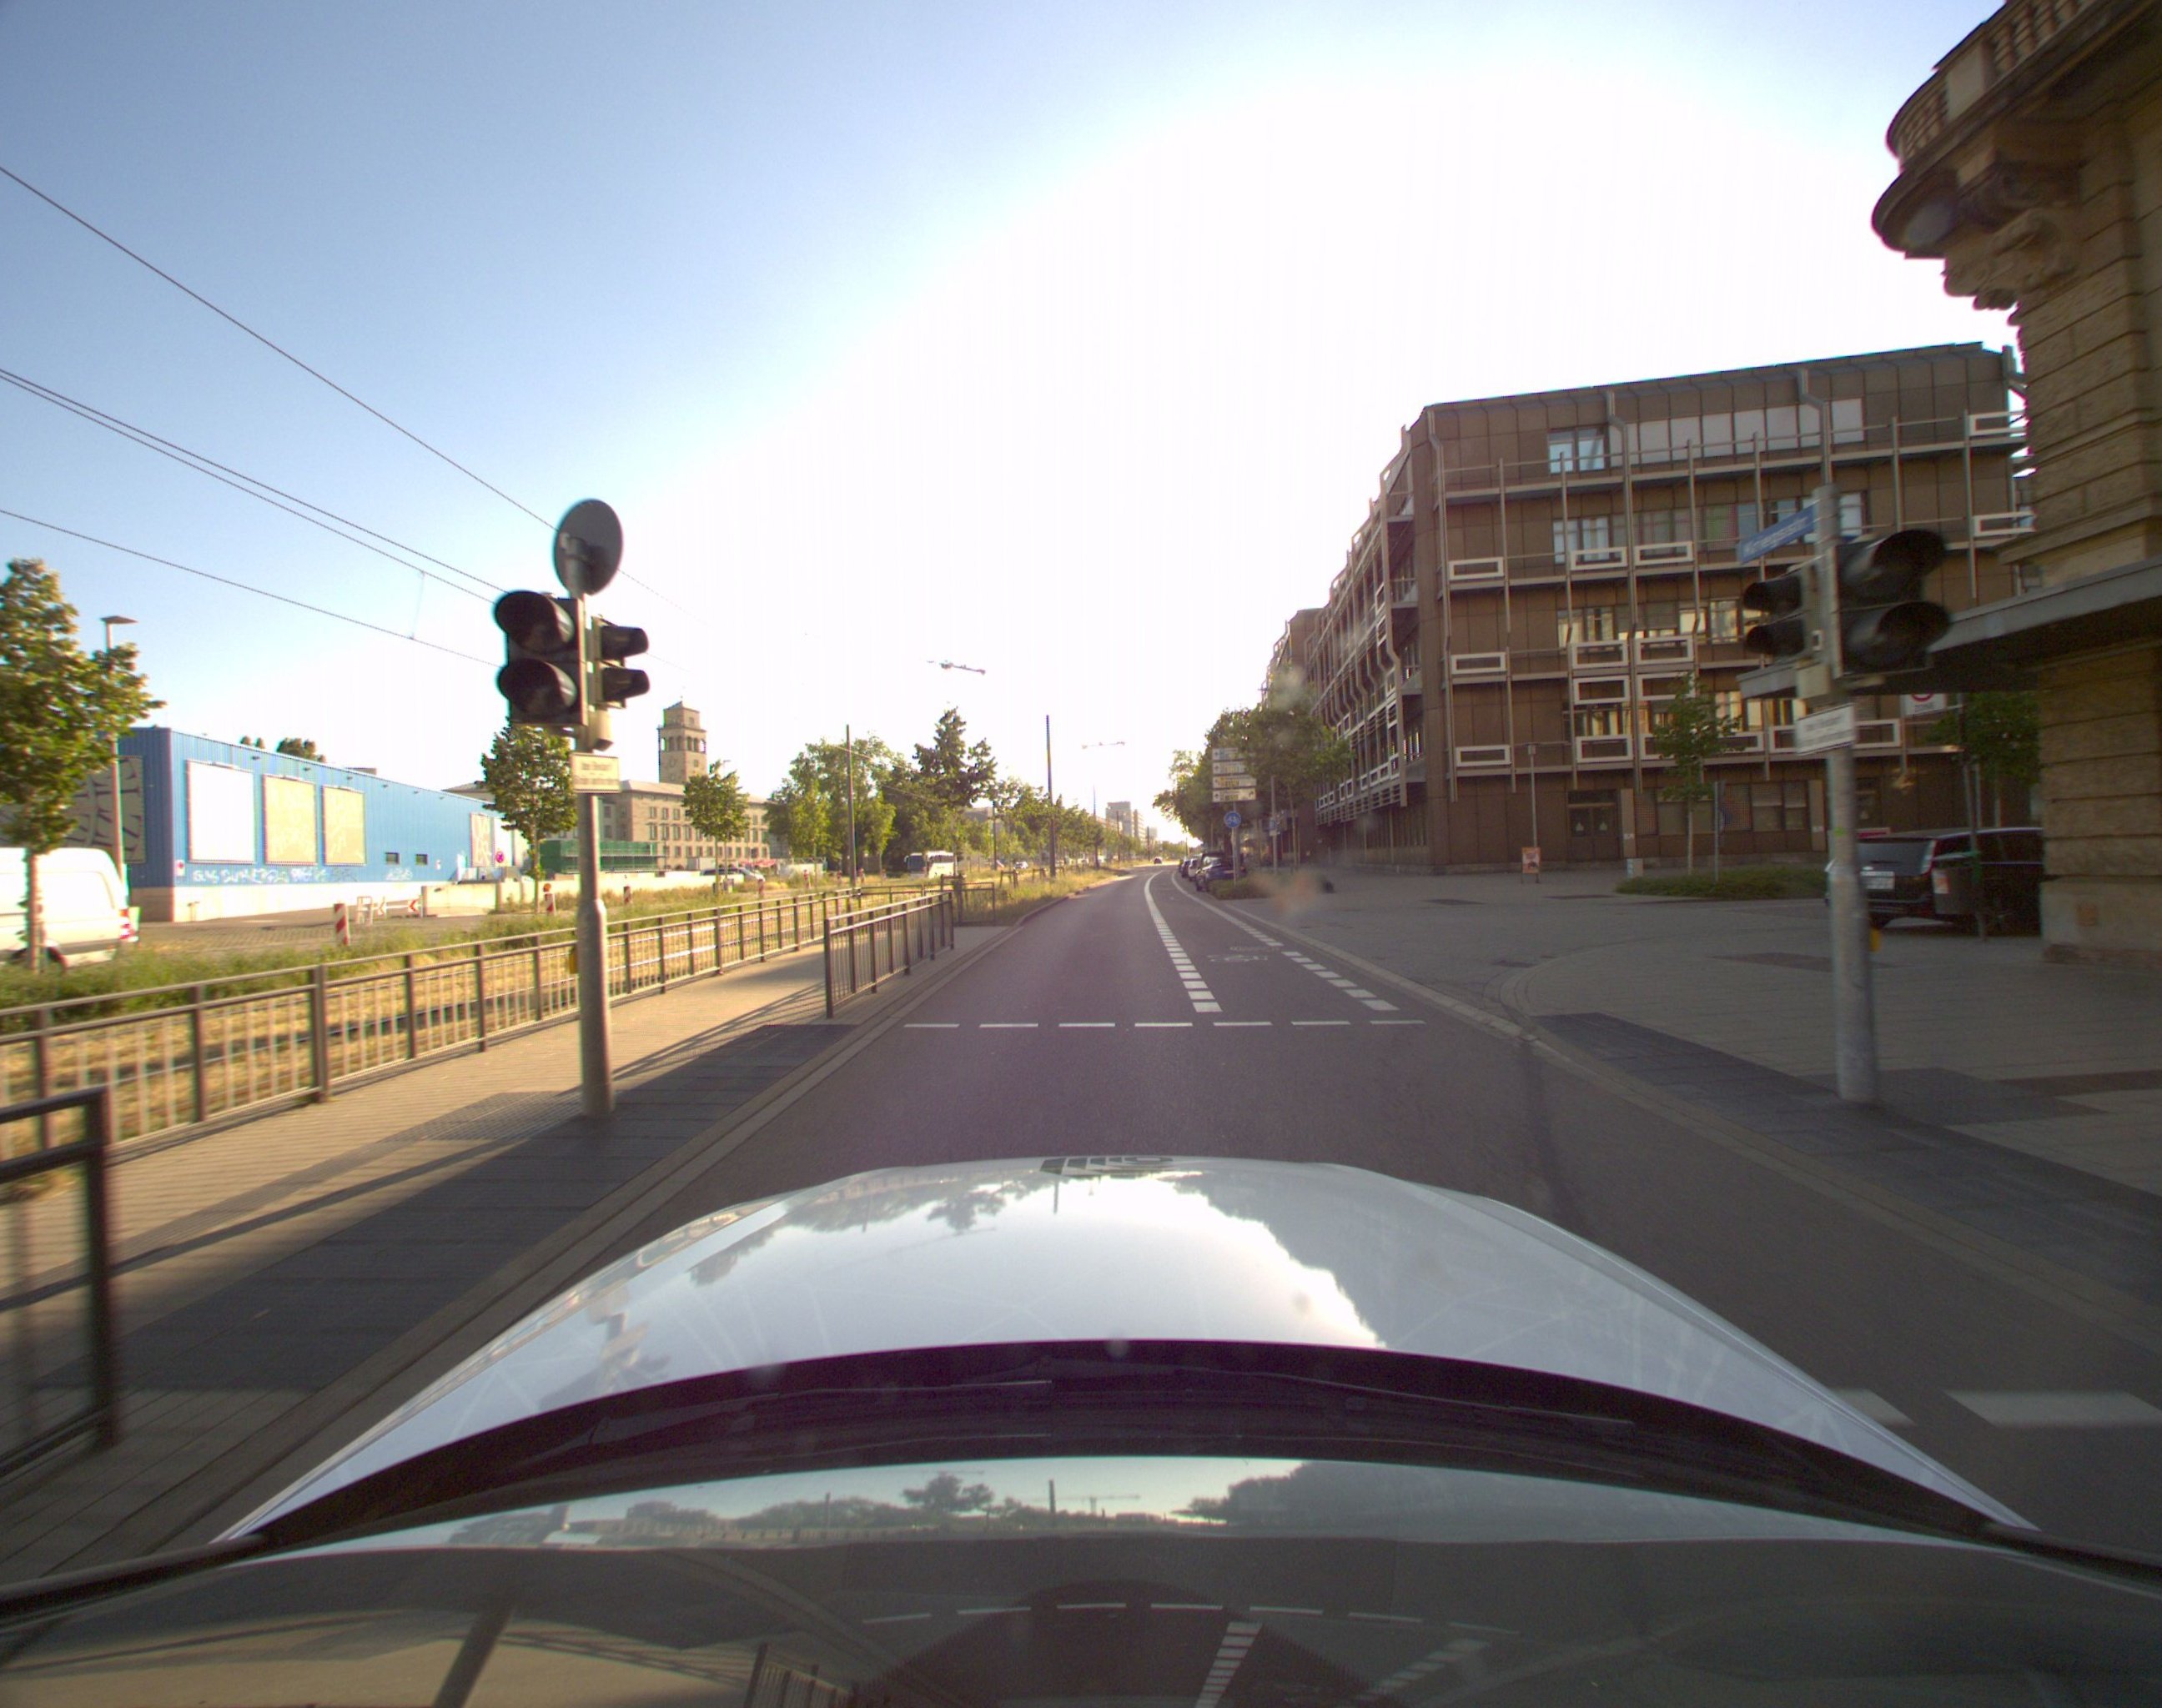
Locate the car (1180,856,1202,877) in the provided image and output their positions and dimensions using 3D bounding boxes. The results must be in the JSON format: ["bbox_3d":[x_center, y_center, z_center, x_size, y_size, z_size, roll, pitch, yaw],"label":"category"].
[{"bbox_3d":[9.593,1.081,71.312,1.719,1.622,4.223,-3,-1,6],"label":"car"}]

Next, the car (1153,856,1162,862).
[{"bbox_3d":[16.900,1.129,179.111,1.767,1.428,4.008,-1,-1,7],"label":"car"}]

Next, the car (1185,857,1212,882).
[{"bbox_3d":[7.871,1.027,54.638,1.655,1.490,4.212,-3,-1,7],"label":"car"}]

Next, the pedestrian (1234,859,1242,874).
[{"bbox_3d":[18.230,1.439,94.403,0.785,1.648,1.139,-2,-1,7],"label":"pedestrian"}]

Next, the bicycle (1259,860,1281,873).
[{"bbox_3d":[17.517,1.169,75.323,1.893,1.093,0.392,-3,-1,1],"label":"bicycle"}]

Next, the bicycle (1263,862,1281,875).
[{"bbox_3d":[18.210,1.384,77.604,1.617,1.082,0.393,-3,-1,8],"label":"bicycle"}]

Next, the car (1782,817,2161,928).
[{"bbox_3d":[13.266,0.263,12.114,4.255,1.450,1.859,-1,-2,-6],"label":"car"}]

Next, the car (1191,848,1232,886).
[{"bbox_3d":[7.163,0.698,44.990,1.727,1.919,4.398,-3,-1,4],"label":"car"}]

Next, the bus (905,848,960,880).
[{"bbox_3d":[-17.772,1.233,98.352,2.784,3.595,12.722,-1,-1,7],"label":"bus"}]

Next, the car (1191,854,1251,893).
[{"bbox_3d":[6.359,0.883,37.437,1.925,1.598,4.698,-3,-1,0],"label":"car"}]

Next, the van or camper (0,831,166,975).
[{"bbox_3d":[-19.947,0.902,13.111,2.215,2.510,7.198,-3,0,0],"label":"van or camper"}]

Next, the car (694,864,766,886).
[{"bbox_3d":[-29.832,1.805,69.251,5.201,1.717,2.128,-1,-1,5],"label":"car"}]

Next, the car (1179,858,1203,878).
[{"bbox_3d":[8.796,1.108,65.393,1.785,1.449,4.384,-3,-1,7],"label":"car"}]
